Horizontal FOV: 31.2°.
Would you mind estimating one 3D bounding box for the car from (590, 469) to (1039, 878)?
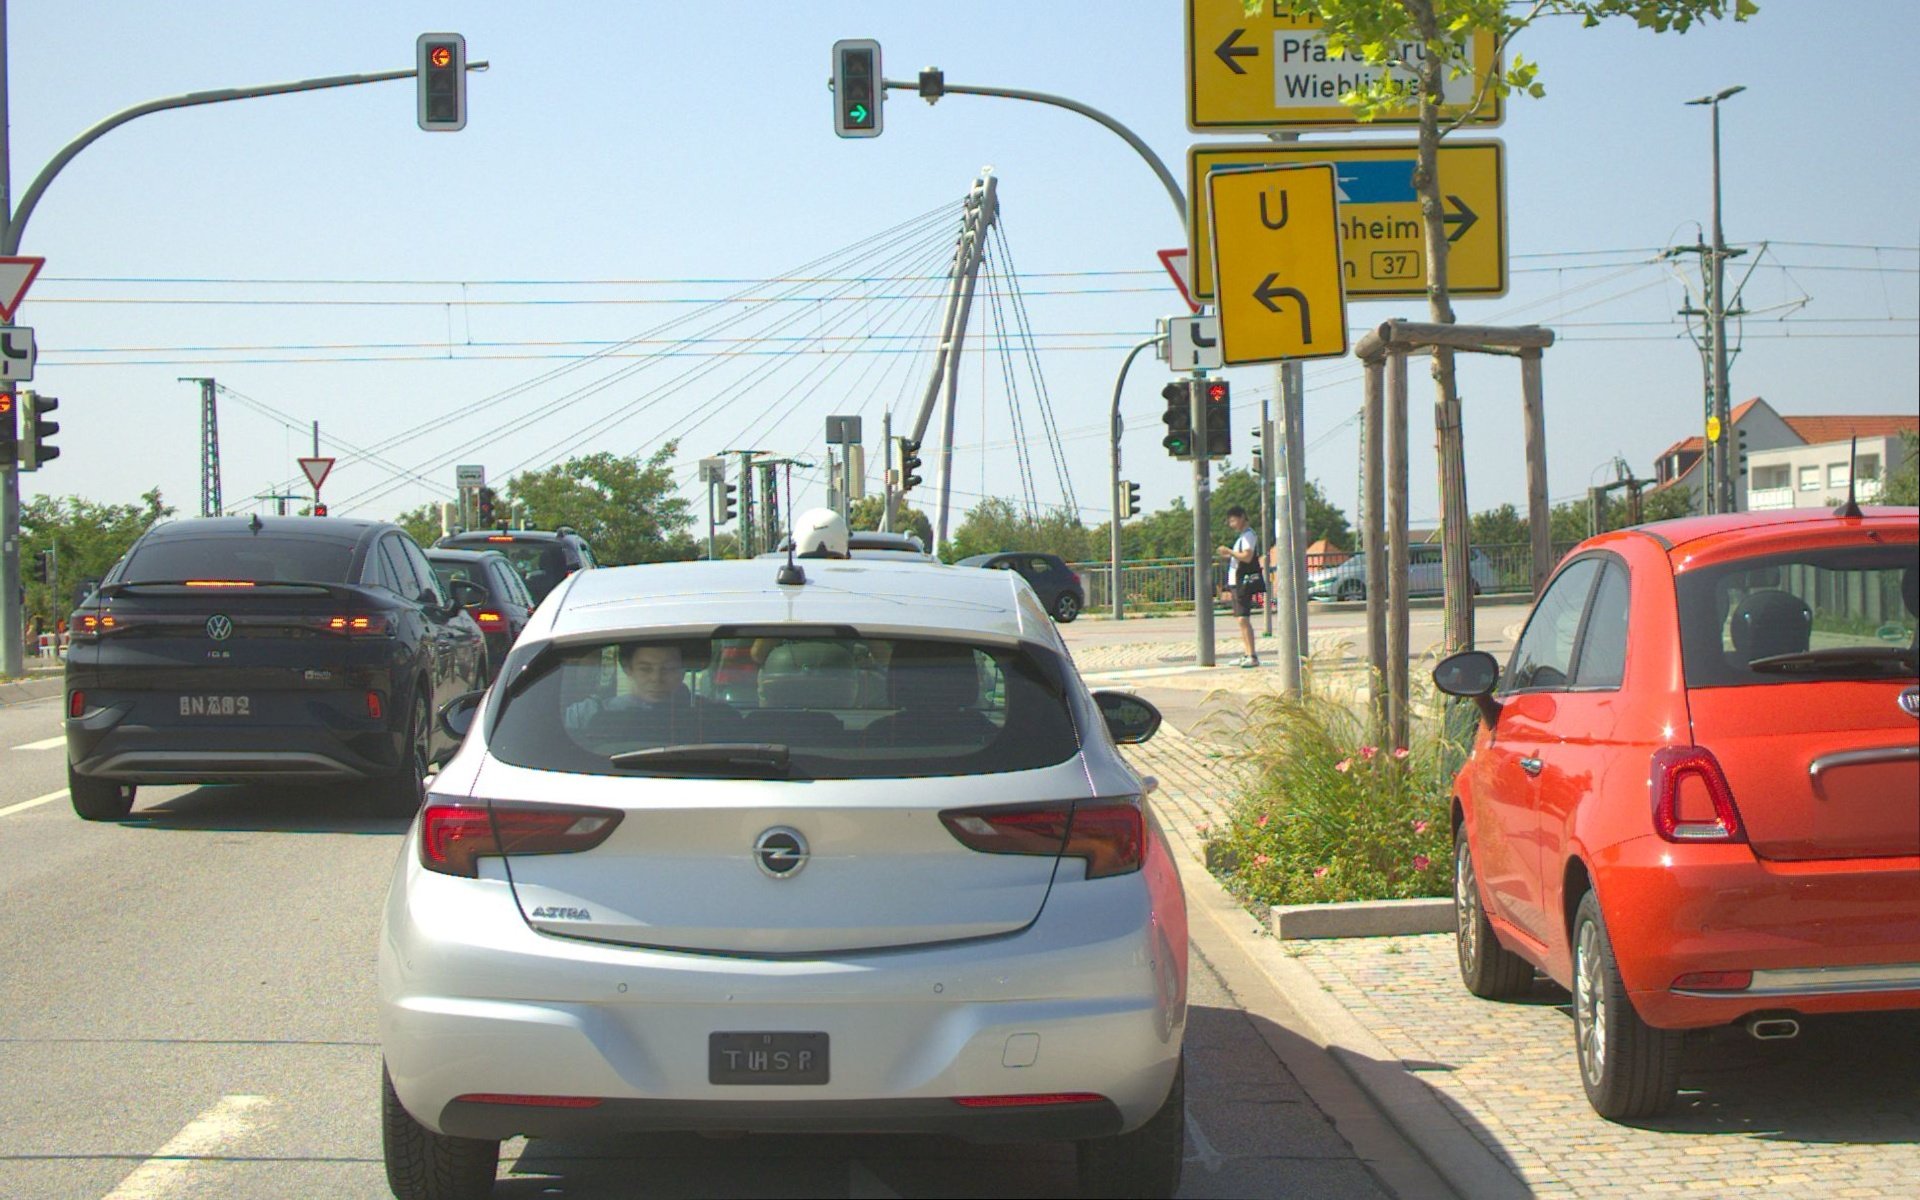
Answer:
[{"bbox_3d":[-0.680,0.272,17.640,1.993,1.814,4.402,1,1,-1],"label":"car"}]

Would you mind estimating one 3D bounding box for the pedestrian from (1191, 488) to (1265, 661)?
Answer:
[{"bbox_3d":[2.907,-0.278,37.308,0.647,1.830,0.798,-2,0,-2],"label":"pedestrian"}]

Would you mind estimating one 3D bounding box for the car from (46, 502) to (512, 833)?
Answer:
[{"bbox_3d":[-3.702,0.316,19.434,1.801,1.636,4.366,1,1,-1],"label":"car"}]

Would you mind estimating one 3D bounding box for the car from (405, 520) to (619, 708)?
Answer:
[{"bbox_3d":[-4.087,0.104,31.857,1.649,1.610,3.821,1,1,-3],"label":"car"}]

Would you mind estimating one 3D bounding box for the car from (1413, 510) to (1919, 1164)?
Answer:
[{"bbox_3d":[2.324,0.516,9.758,1.610,1.491,3.352,-2,1,1],"label":"car"}]

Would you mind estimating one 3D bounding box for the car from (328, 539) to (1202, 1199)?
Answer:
[{"bbox_3d":[-0.498,0.604,8.930,1.742,1.473,4.001,1,1,-3],"label":"car"}]

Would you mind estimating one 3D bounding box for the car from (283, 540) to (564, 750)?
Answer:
[{"bbox_3d":[-3.927,0.291,25.668,1.575,1.429,3.786,1,1,-1],"label":"car"}]

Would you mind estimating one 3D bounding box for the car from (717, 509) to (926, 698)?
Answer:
[{"bbox_3d":[-1.183,-0.024,30.879,1.724,1.558,4.000,1,2,0],"label":"car"}]

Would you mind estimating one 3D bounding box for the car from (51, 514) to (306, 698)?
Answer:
[{"bbox_3d":[-6.978,0.031,31.007,1.597,1.542,3.763,1,1,-3],"label":"car"}]
